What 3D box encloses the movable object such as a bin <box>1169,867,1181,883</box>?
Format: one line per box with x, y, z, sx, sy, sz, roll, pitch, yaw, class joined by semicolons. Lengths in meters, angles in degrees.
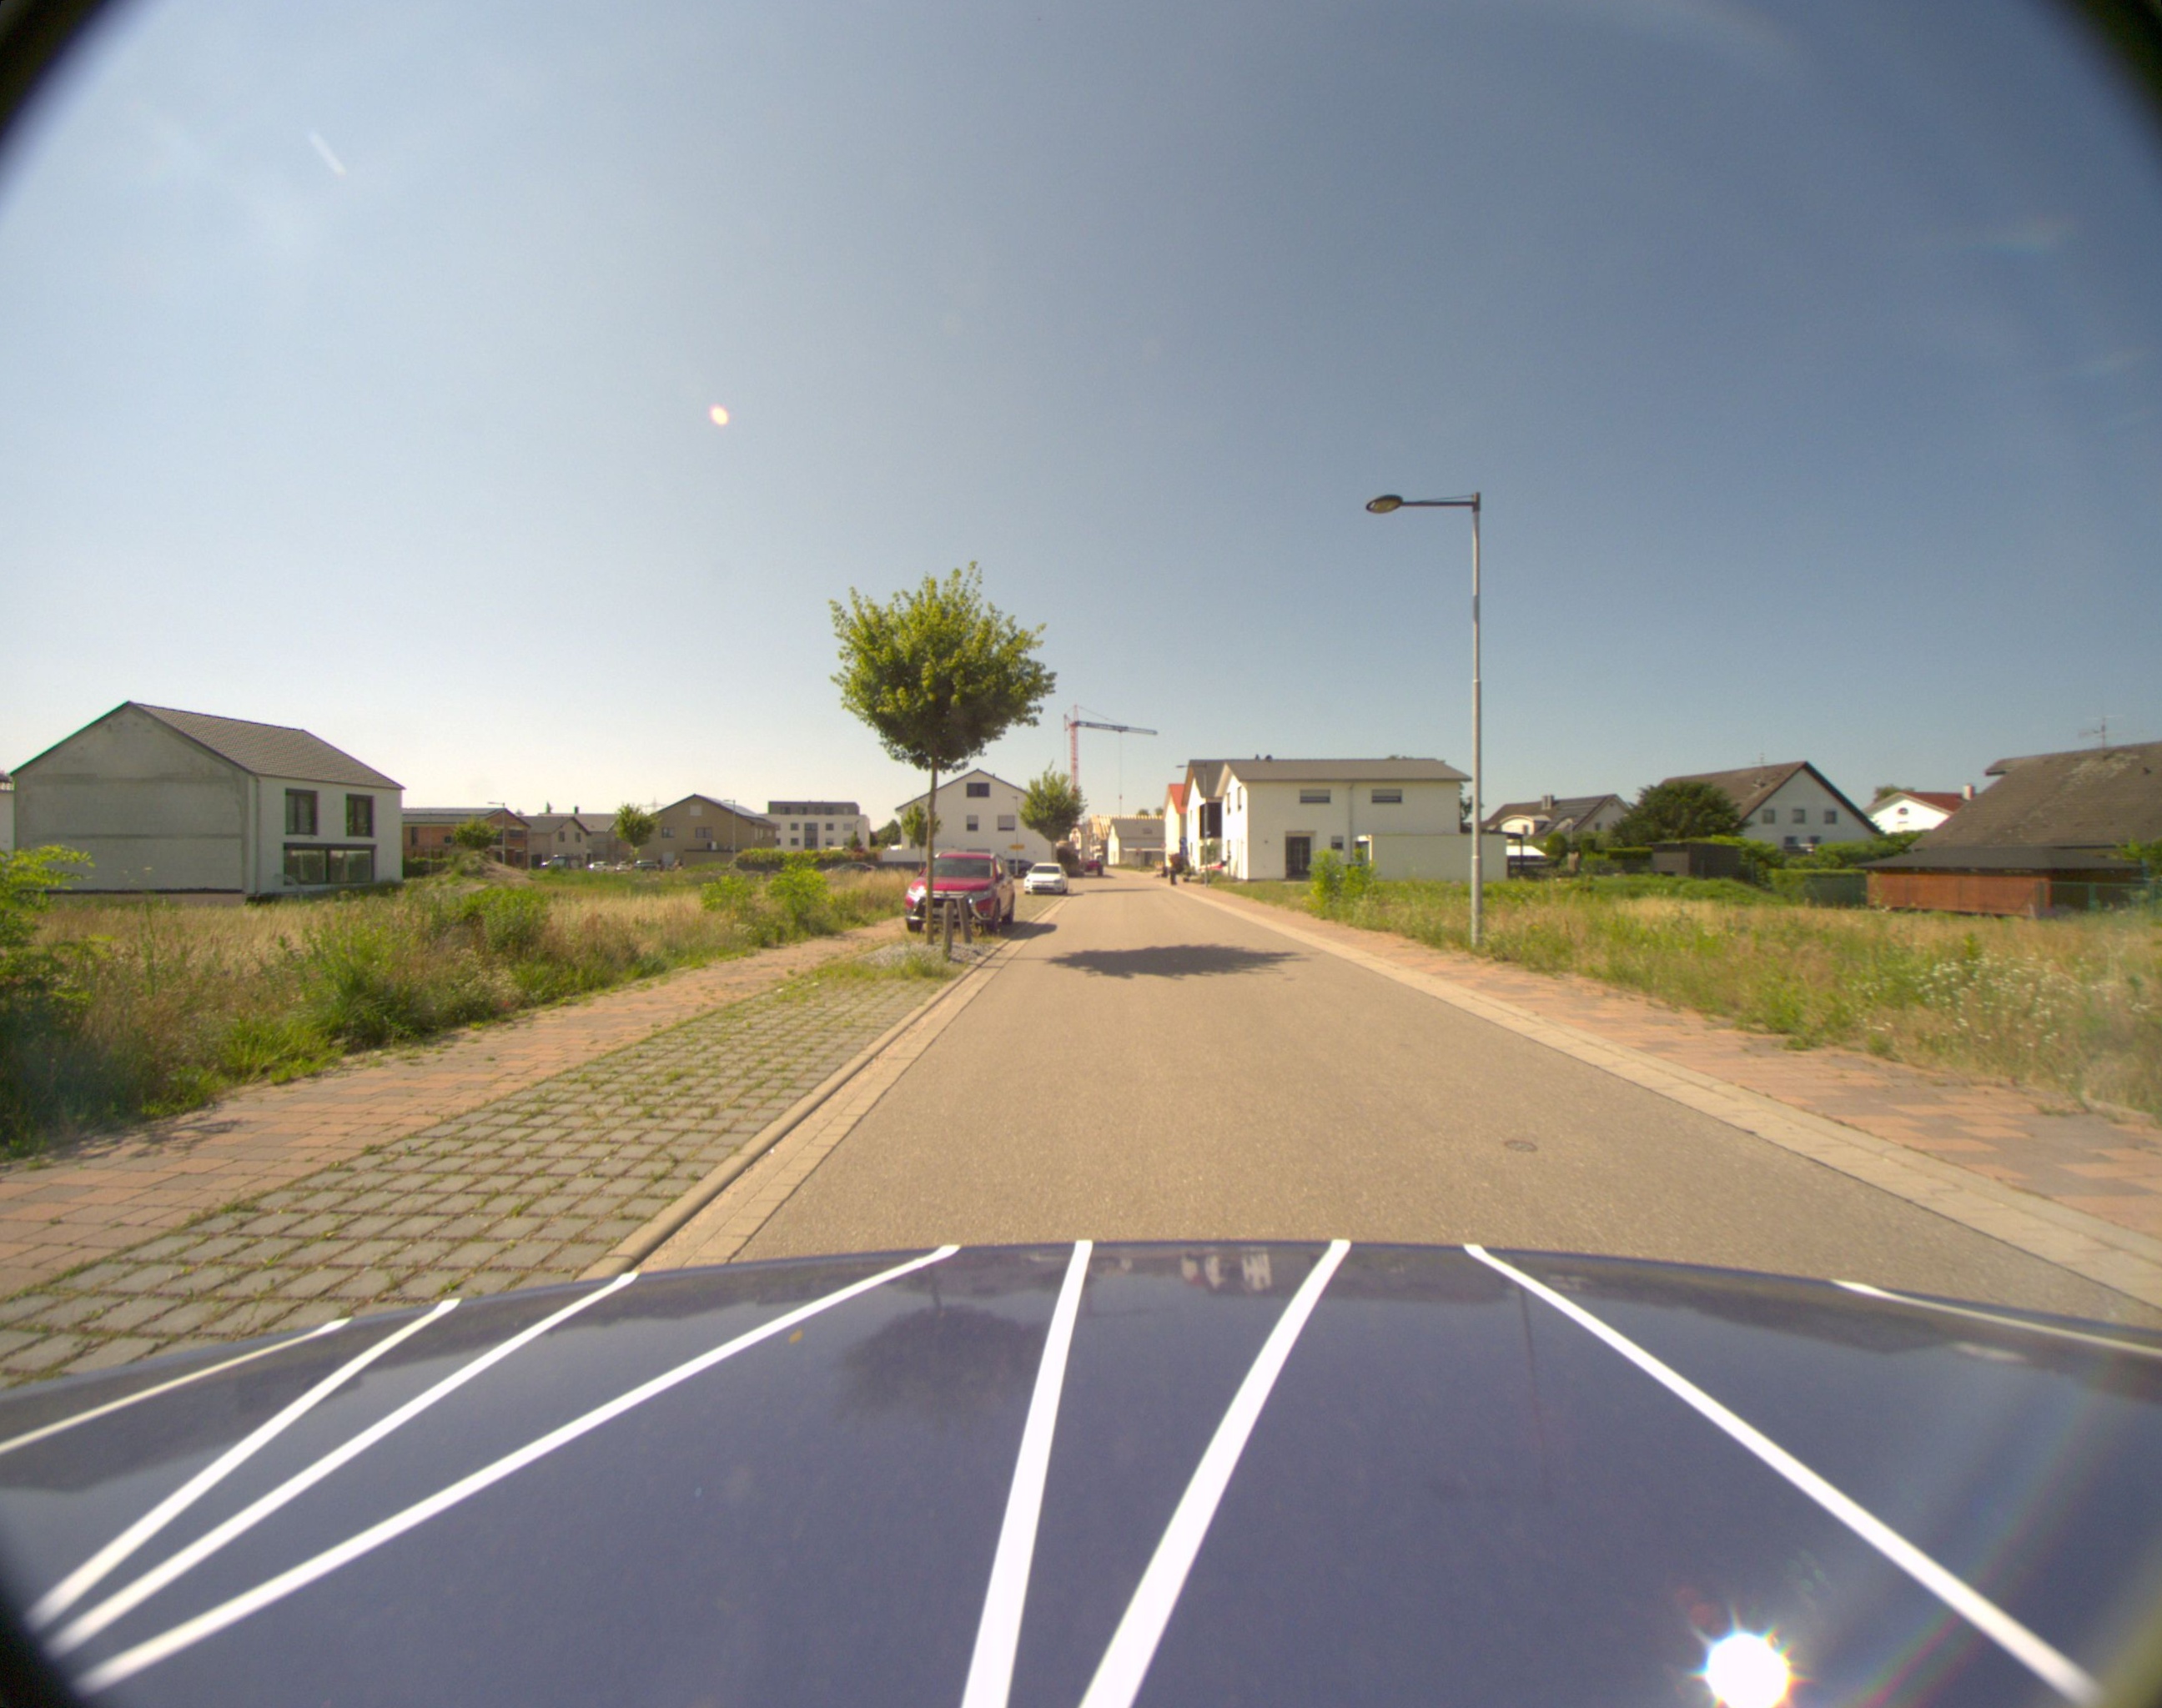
5.533;1.243;44.881;0.625;0.943;0.500;-1;1;-3;movable object such as a bin

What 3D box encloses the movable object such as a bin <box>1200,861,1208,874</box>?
10.063;1.123;62.324;0.500;1.085;0.602;-1;-1;-2;movable object such as a bin

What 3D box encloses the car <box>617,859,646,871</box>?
-58.015;1.414;98.157;1.750;1.493;3.997;0;0;-7;car

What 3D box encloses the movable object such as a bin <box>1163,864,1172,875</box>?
7.035;1.265;61.699;0.618;0.931;0.565;-1;0;-3;movable object such as a bin

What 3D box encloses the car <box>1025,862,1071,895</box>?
-1.522;1.126;36.193;1.779;1.411;4.166;1;0;3;car

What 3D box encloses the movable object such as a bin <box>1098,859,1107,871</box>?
2.019;1.022;71.639;0.823;1.058;0.590;-1;1;-3;movable object such as a bin

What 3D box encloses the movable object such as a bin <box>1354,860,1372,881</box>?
14.810;0.854;39.893;0.671;1.092;0.808;0;0;3;movable object such as a bin

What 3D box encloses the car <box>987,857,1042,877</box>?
-5.436;1.035;62.264;4.347;1.549;1.960;-1;-1;0;car

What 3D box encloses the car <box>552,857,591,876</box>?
-56.678;1.356;84.655;2.000;2.002;3.997;0;0;-7;car

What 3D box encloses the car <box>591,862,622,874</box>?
-57.309;1.632;91.812;1.667;1.392;3.918;0;0;-7;car

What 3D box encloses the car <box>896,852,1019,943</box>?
-2.466;0.828;16.260;1.781;1.653;4.434;1;0;1;car

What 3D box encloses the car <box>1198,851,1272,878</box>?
10.670;0.726;52.904;4.748;1.864;1.938;0;0;-1;car

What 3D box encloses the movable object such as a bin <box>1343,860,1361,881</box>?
14.179;0.861;39.787;0.661;1.092;0.785;0;0;1;movable object such as a bin

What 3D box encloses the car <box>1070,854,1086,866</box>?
-0.410;0.848;109.190;1.803;1.609;3.673;-1;1;-8;car

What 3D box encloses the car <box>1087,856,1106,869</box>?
1.788;1.008;89.653;1.911;1.470;3.998;-1;1;-2;car
